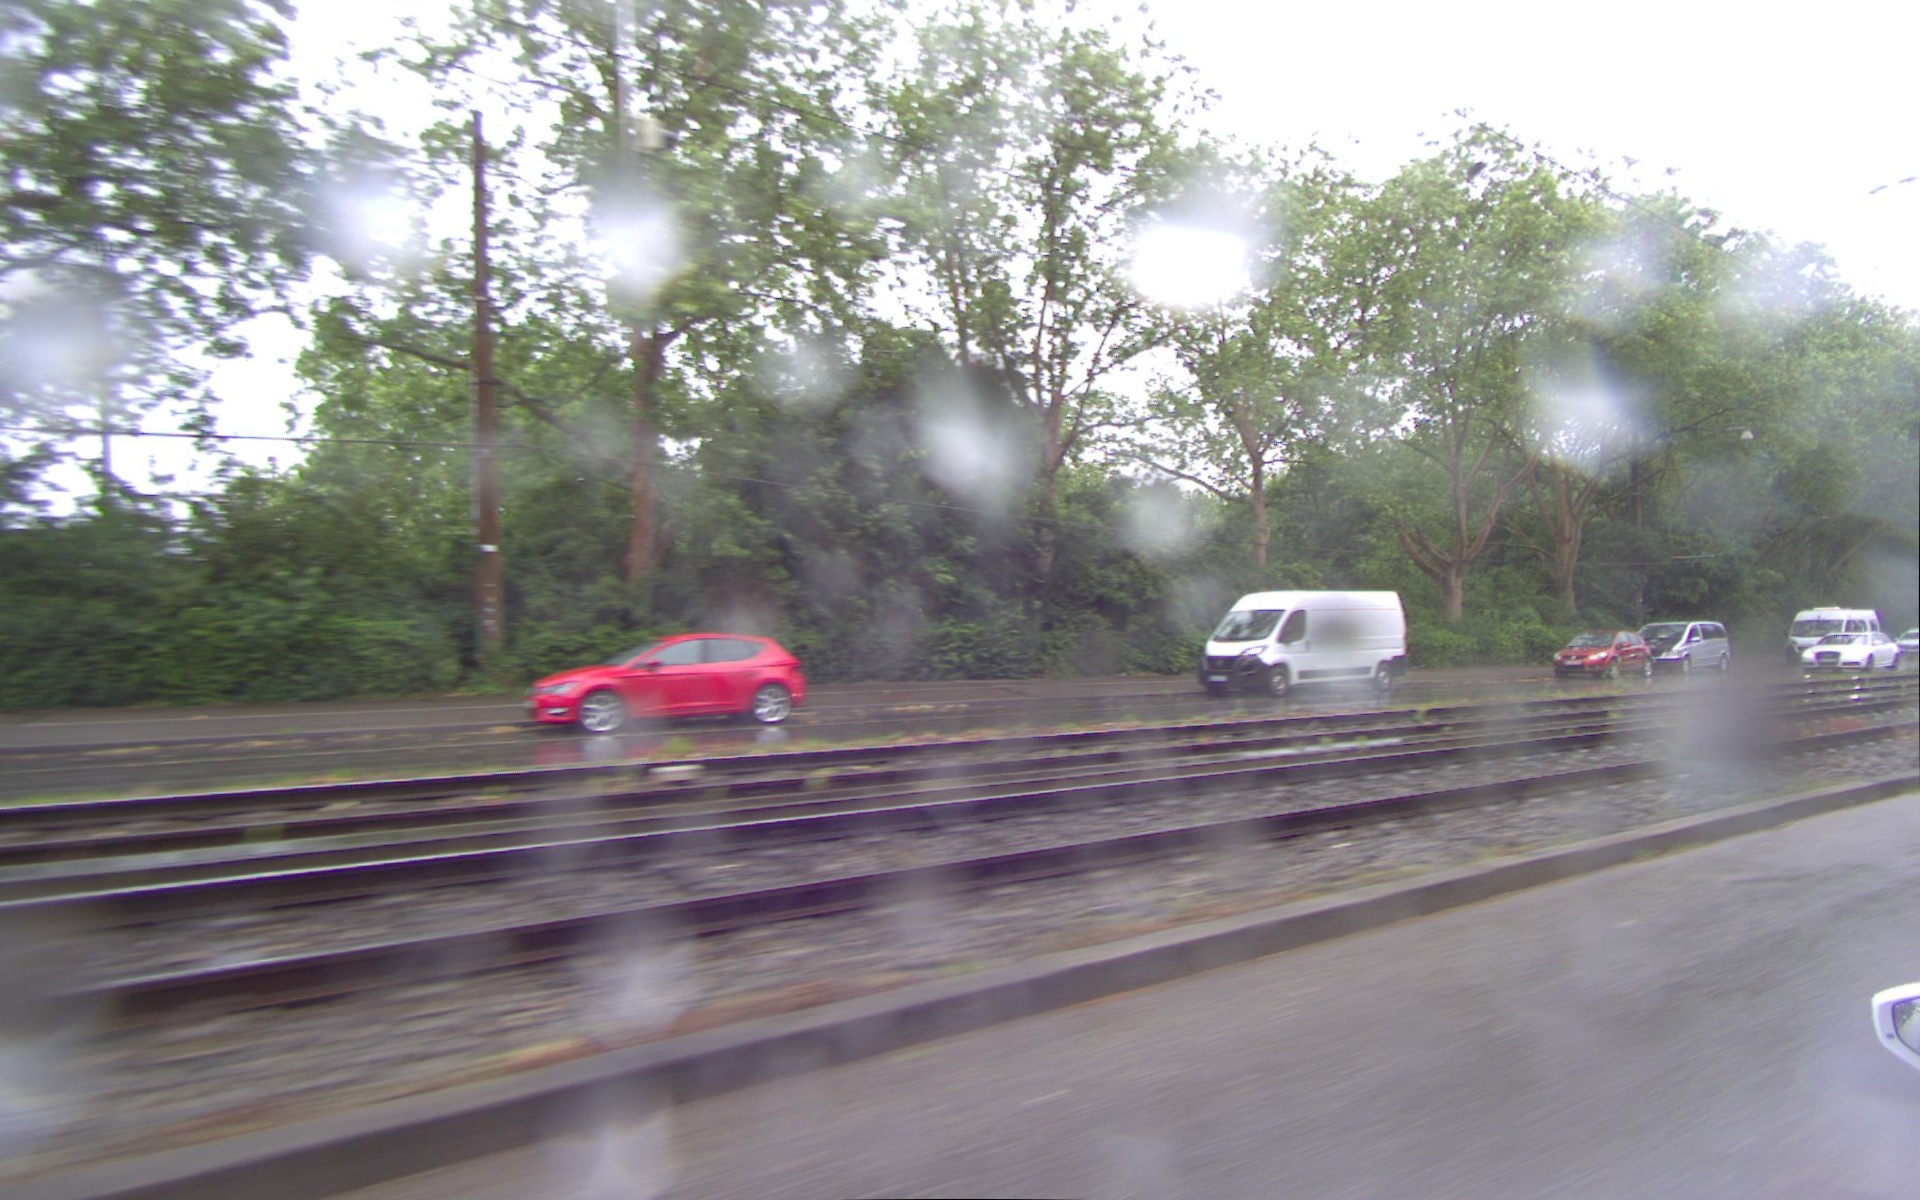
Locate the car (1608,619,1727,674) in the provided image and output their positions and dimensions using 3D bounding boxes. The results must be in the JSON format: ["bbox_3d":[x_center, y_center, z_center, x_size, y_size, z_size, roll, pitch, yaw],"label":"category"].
[{"bbox_3d":[25.489,1.656,36.138,4.591,1.886,1.946,1,-3,-33],"label":"car"}]

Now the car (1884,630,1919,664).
[{"bbox_3d":[51.160,2.470,53.623,4.486,1.750,1.739,1,-2,-35],"label":"car"}]

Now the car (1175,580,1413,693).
[{"bbox_3d":[8.283,0.911,24.660,6.075,2.478,2.316,2,-2,-34],"label":"car"}]

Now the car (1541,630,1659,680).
[{"bbox_3d":[21.125,1.778,33.107,3.982,1.572,1.807,1,-2,-33],"label":"car"}]

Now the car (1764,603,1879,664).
[{"bbox_3d":[38.891,1.531,45.276,6.501,2.574,2.374,1,-2,-35],"label":"car"}]

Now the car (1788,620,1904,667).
[{"bbox_3d":[31.942,1.550,36.164,4.947,1.572,2.020,1,-2,-35],"label":"car"}]

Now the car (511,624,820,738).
[{"bbox_3d":[-4.632,1.178,15.960,4.338,1.572,2.022,1,-2,-33],"label":"car"}]

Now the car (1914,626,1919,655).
[{"bbox_3d":[56.321,2.306,57.477,3.775,1.670,1.750,1,-2,-35],"label":"car"}]
